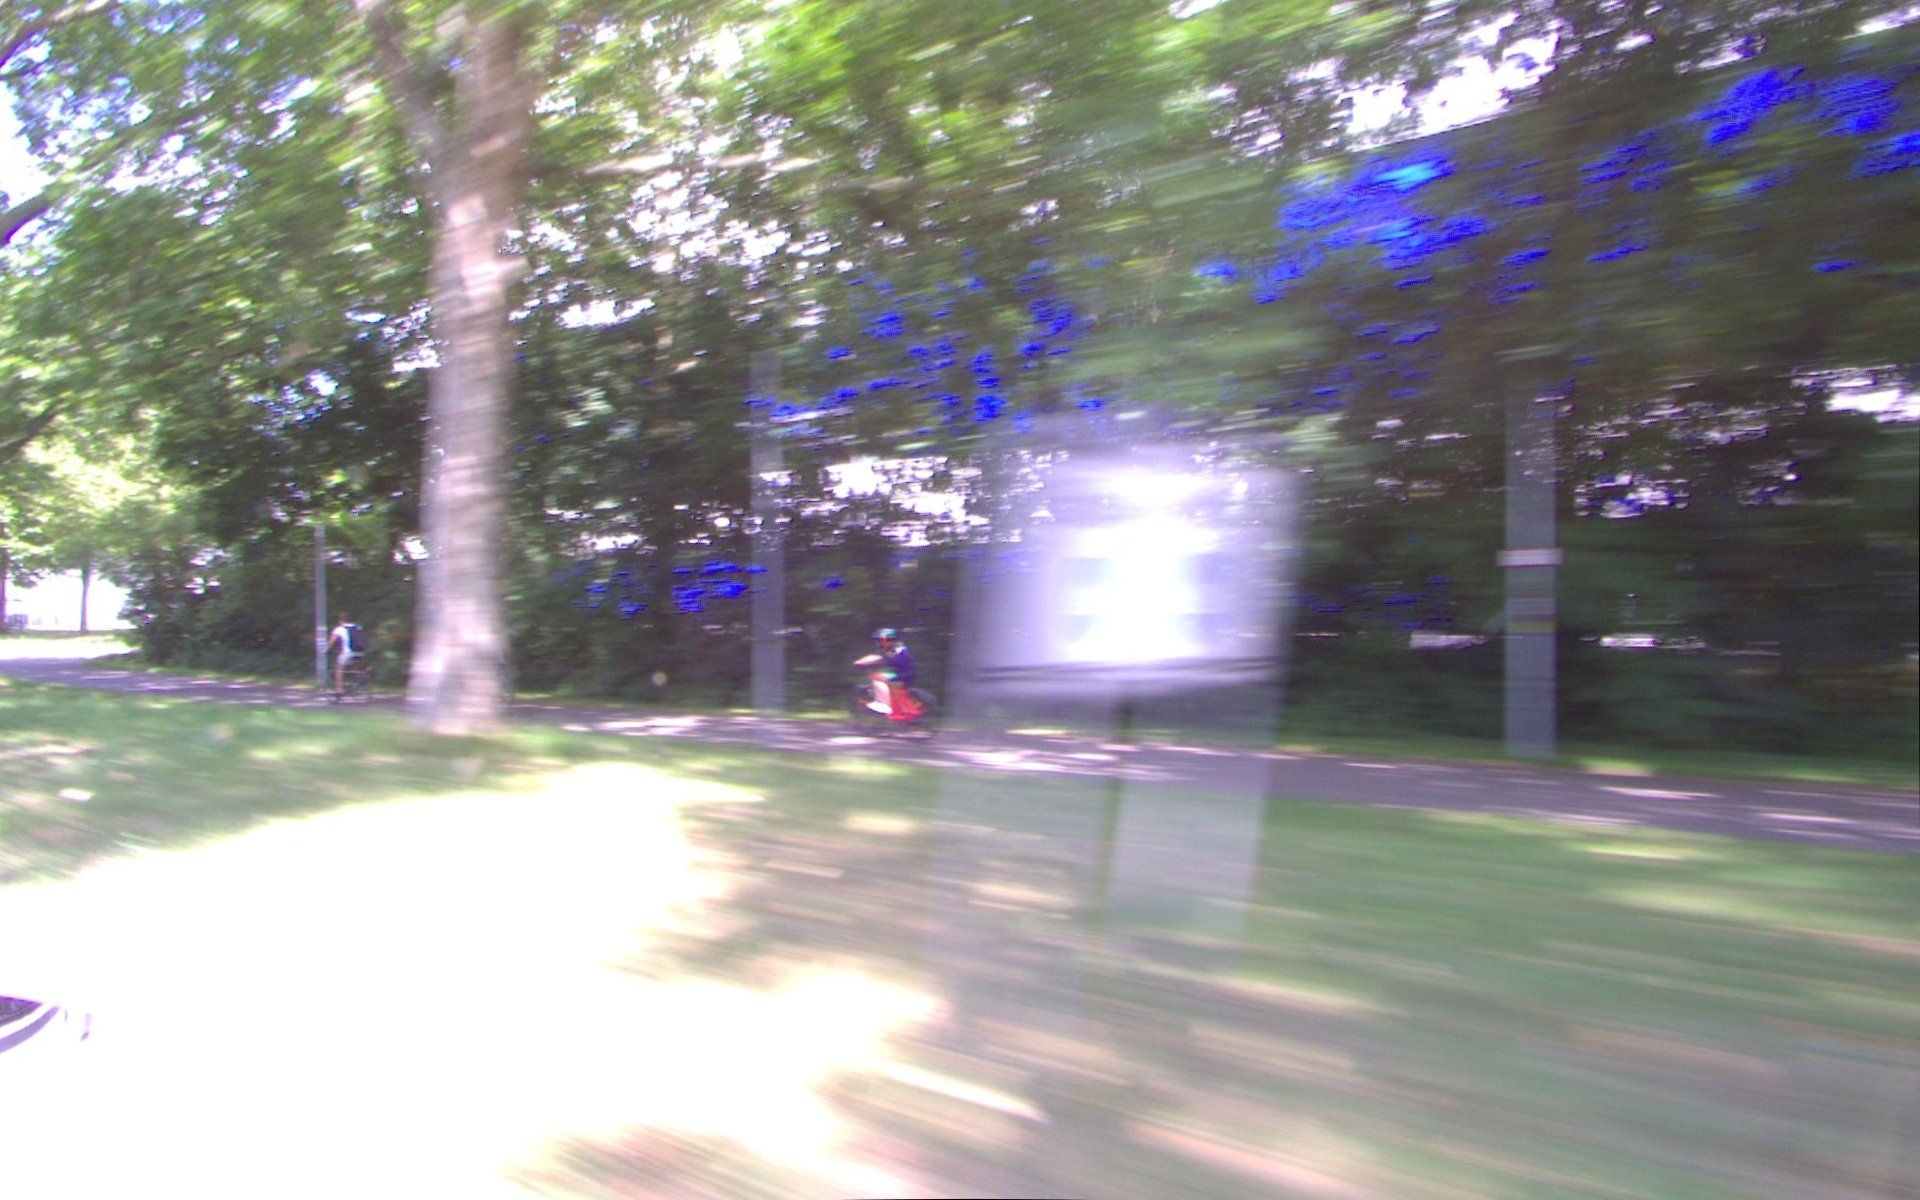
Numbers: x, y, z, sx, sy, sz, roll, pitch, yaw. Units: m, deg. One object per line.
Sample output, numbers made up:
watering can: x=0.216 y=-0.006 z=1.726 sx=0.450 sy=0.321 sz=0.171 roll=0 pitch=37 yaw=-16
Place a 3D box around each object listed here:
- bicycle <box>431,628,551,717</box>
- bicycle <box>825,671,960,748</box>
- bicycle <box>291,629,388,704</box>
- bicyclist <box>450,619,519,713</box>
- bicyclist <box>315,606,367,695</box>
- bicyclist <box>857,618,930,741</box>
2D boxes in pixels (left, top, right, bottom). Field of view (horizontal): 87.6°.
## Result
bicycle: x=-8.274 y=1.231 z=17.603 sx=2.624 sy=1.438 sz=0.609 roll=0 pitch=0 yaw=33
bicycle: x=-0.960 y=1.485 z=13.879 sx=1.999 sy=0.898 sz=0.642 roll=-1 pitch=-1 yaw=41
bicycle: x=-12.693 y=1.322 z=20.461 sx=2.624 sy=1.438 sz=0.609 roll=0 pitch=0 yaw=33
bicyclist: x=-8.398 y=1.140 z=17.681 sx=1.038 sy=1.620 sz=0.657 roll=0 pitch=0 yaw=33
bicyclist: x=-12.640 y=1.016 z=20.437 sx=0.831 sy=1.768 sz=0.596 roll=0 pitch=0 yaw=33
bicyclist: x=-0.917 y=1.069 z=13.841 sx=0.807 sy=1.631 sz=0.620 roll=0 pitch=0 yaw=40
